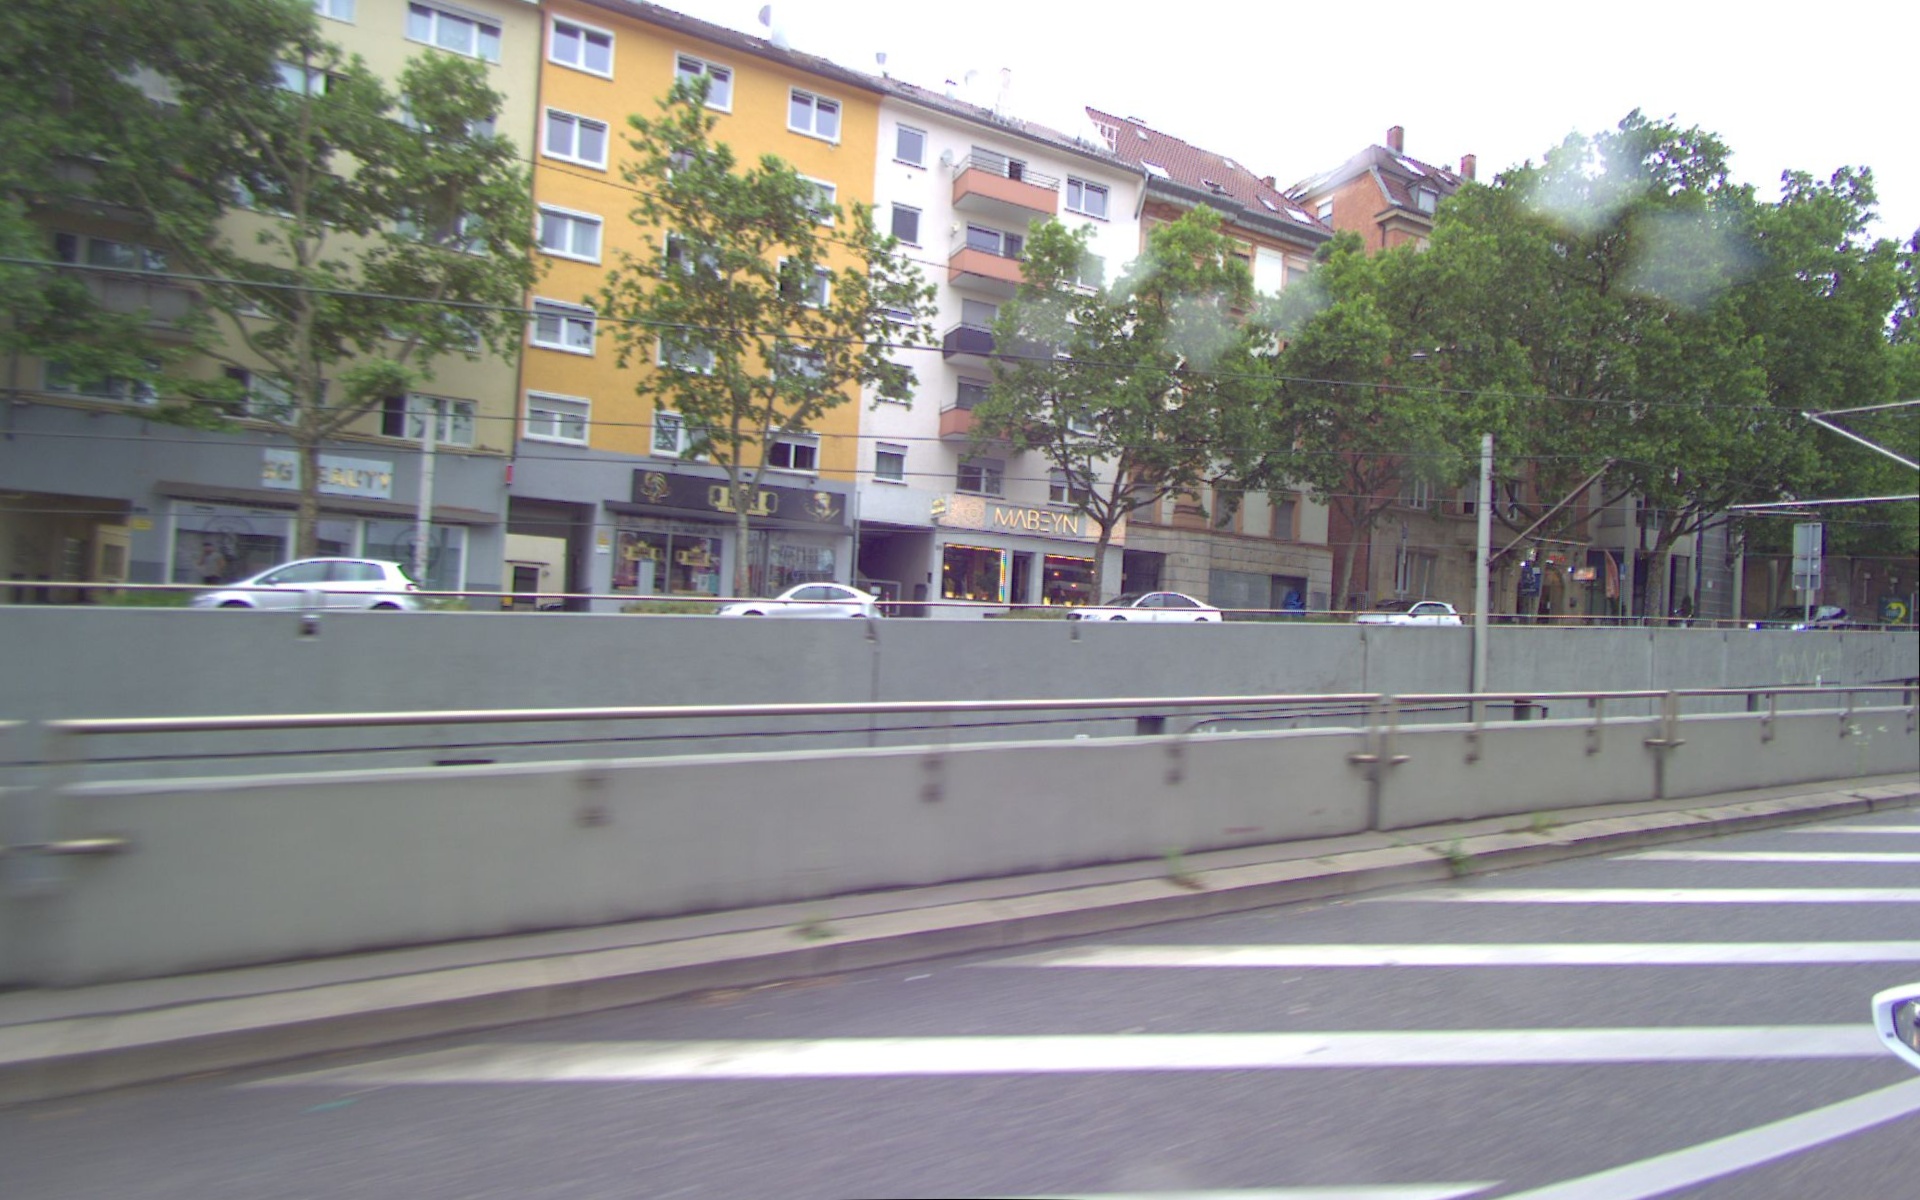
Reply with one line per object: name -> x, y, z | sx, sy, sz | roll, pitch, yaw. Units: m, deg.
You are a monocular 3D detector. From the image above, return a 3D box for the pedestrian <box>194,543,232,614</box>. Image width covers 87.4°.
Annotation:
pedestrian -> -19.068, -0.560, 25.640 | 0.612, 1.772, 0.522 | 2, 3, -19

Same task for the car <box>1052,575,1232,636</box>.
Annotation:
car -> 5.445, 0.180, 29.896 | 5.132, 1.622, 1.920 | 2, 1, -27

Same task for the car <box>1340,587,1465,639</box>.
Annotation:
car -> 15.247, 0.463, 34.591 | 4.060, 1.633, 1.787 | 2, 1, -28

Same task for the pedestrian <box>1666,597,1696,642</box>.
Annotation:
pedestrian -> 33.617, 0.913, 46.840 | 0.922, 2.040, 0.667 | 3, 1, -25

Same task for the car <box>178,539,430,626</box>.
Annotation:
car -> -13.410, -0.333, 20.865 | 4.153, 1.592, 1.788 | 2, 1, -27

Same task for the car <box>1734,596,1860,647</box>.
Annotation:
car -> 32.994, 0.853, 39.599 | 4.902, 1.877, 1.949 | 2, 1, -26

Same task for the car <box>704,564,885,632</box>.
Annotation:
car -> -4.143, -0.037, 25.207 | 4.153, 1.530, 1.788 | 2, 1, -27

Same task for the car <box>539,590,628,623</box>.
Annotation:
car -> -18.534, 0.343, 49.435 | 3.948, 1.535, 1.750 | 2, -1, -27
